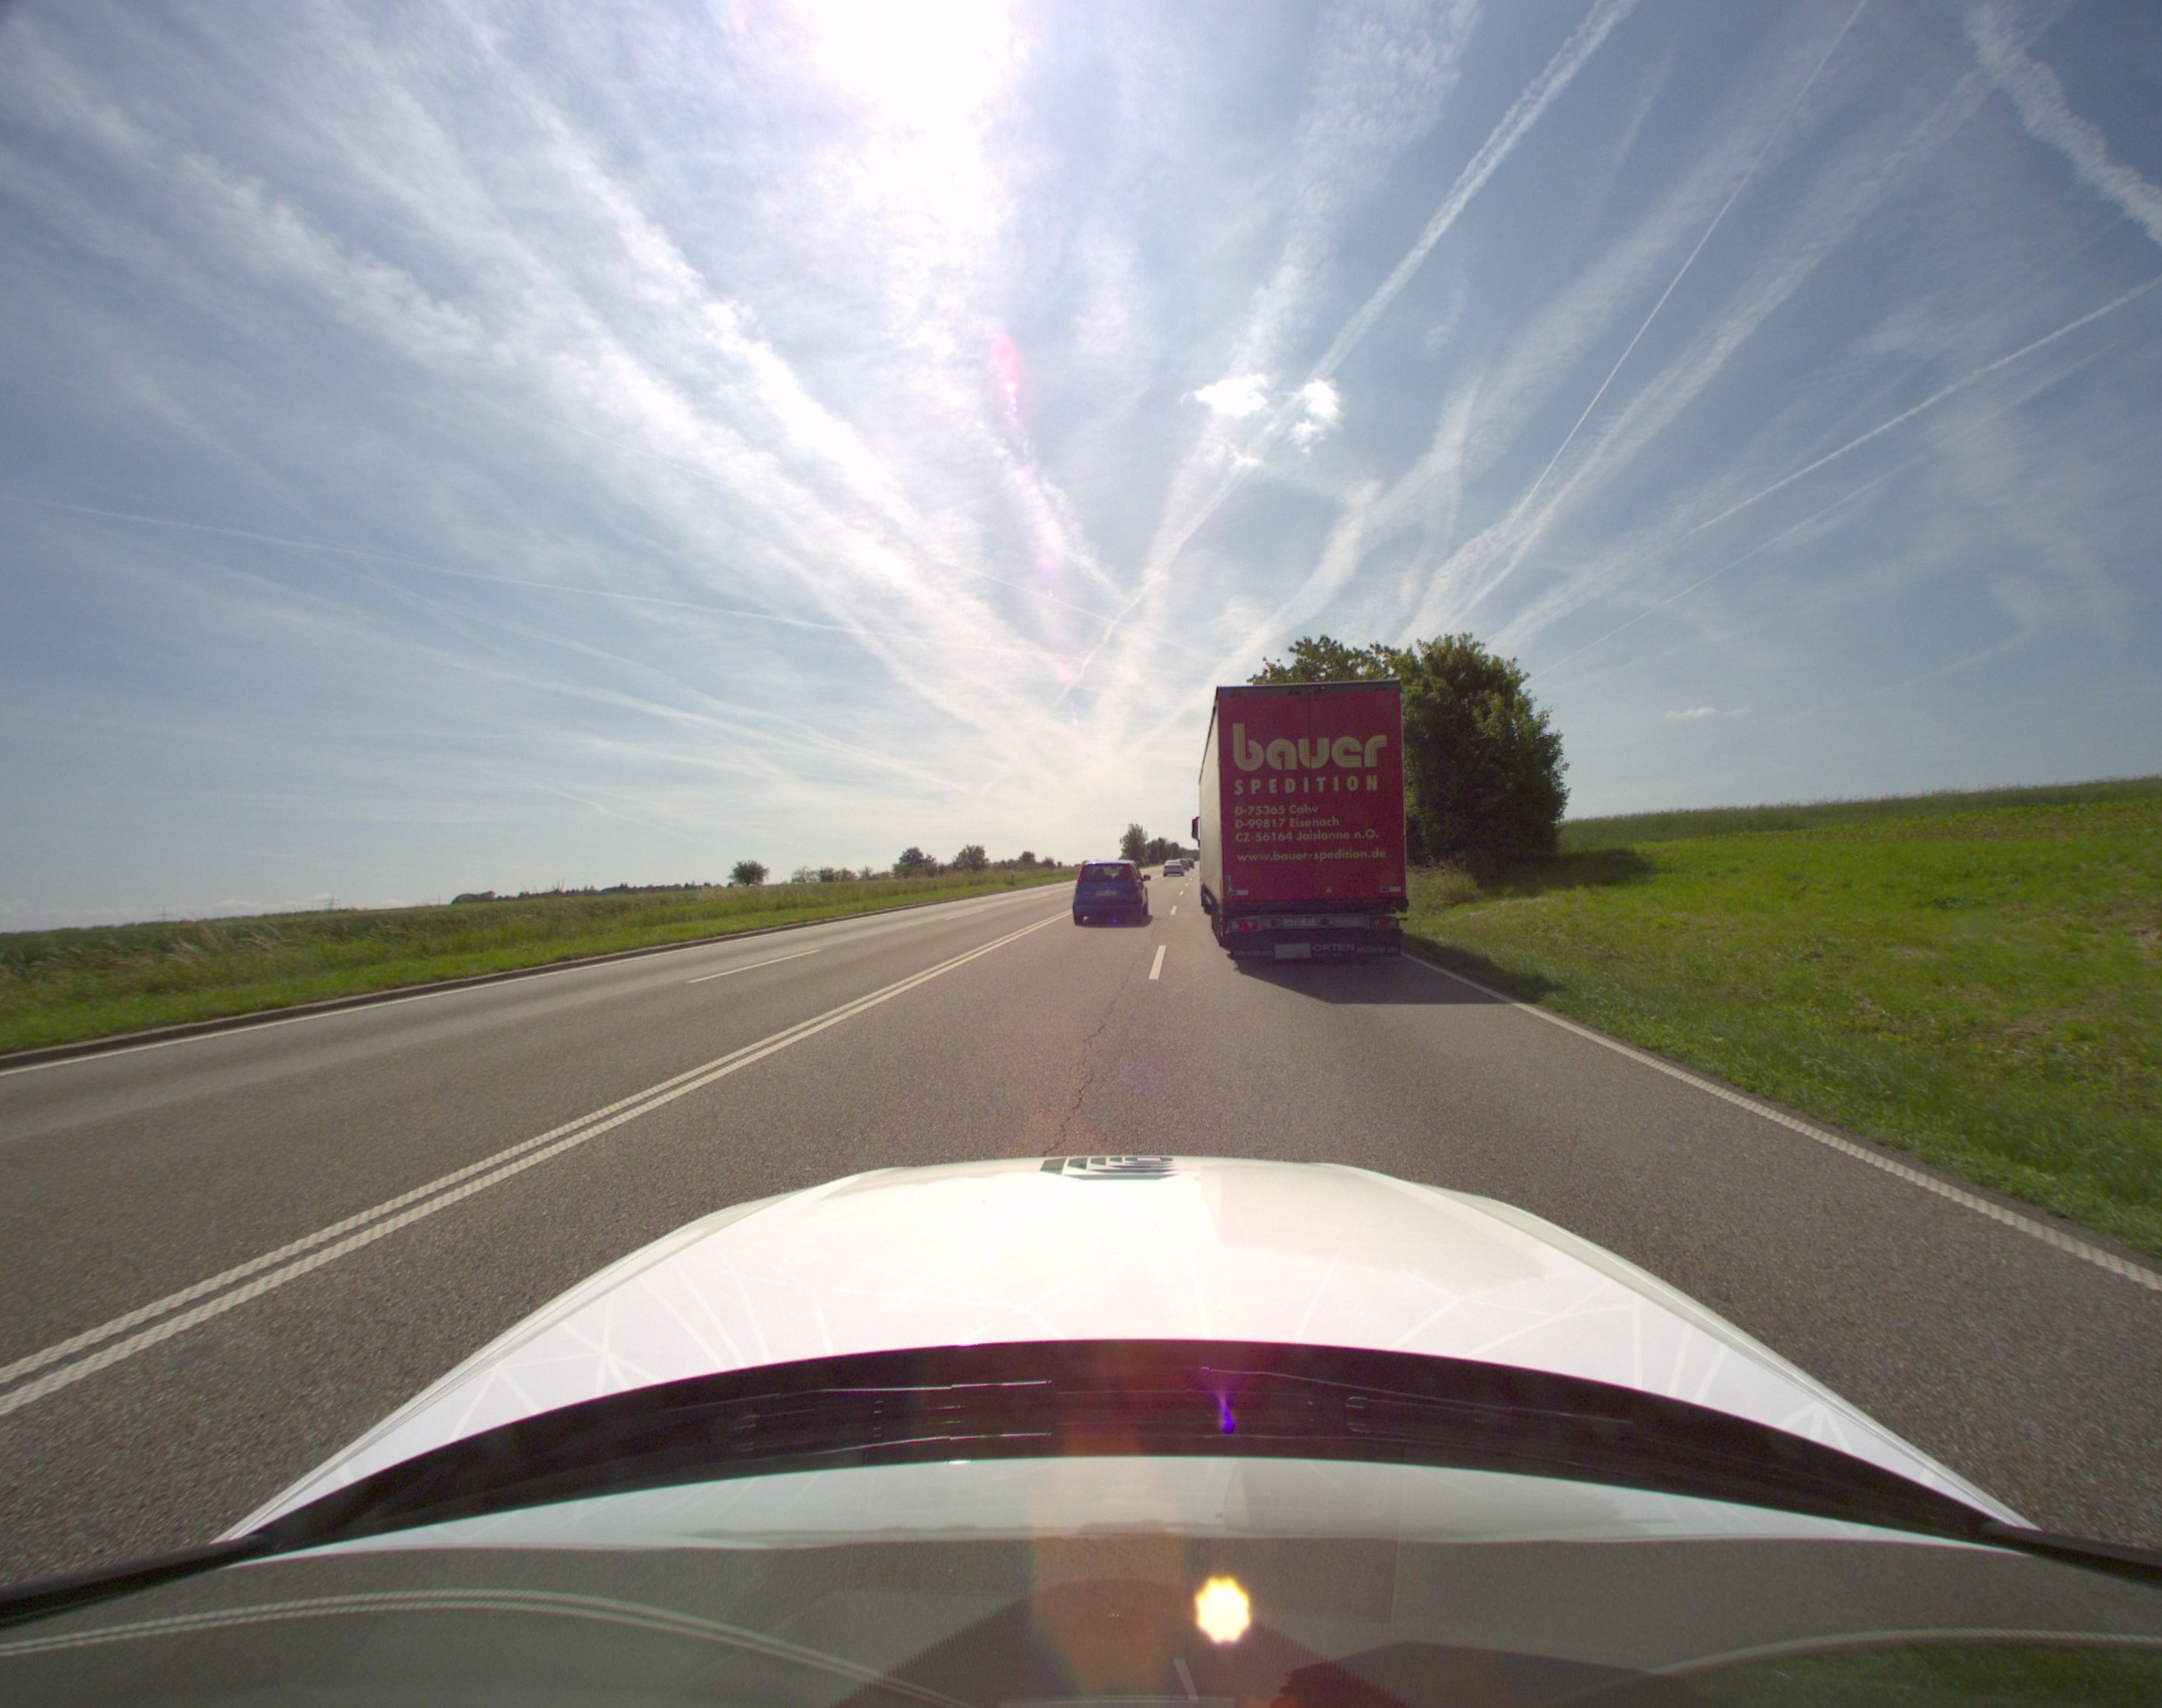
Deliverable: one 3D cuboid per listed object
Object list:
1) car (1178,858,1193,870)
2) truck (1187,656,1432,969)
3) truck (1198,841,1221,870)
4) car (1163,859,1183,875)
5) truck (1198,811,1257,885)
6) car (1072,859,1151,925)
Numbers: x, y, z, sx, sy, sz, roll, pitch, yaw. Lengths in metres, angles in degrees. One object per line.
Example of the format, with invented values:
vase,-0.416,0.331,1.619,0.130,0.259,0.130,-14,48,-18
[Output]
car,13.077,1.289,101.878,1.810,1.472,4.800,0,0,9
truck,4.130,-0.517,19.308,2.991,4.180,16.745,-1,0,7
truck,19.360,0.283,122.524,3.029,3.910,18.442,-1,-1,9
car,8.317,1.186,73.187,1.694,1.376,4.612,-1,0,7
truck,9.006,-0.266,51.460,3.029,3.910,15.651,-1,-1,8
car,0.891,0.905,21.217,1.622,1.531,3.923,-2,-1,8
